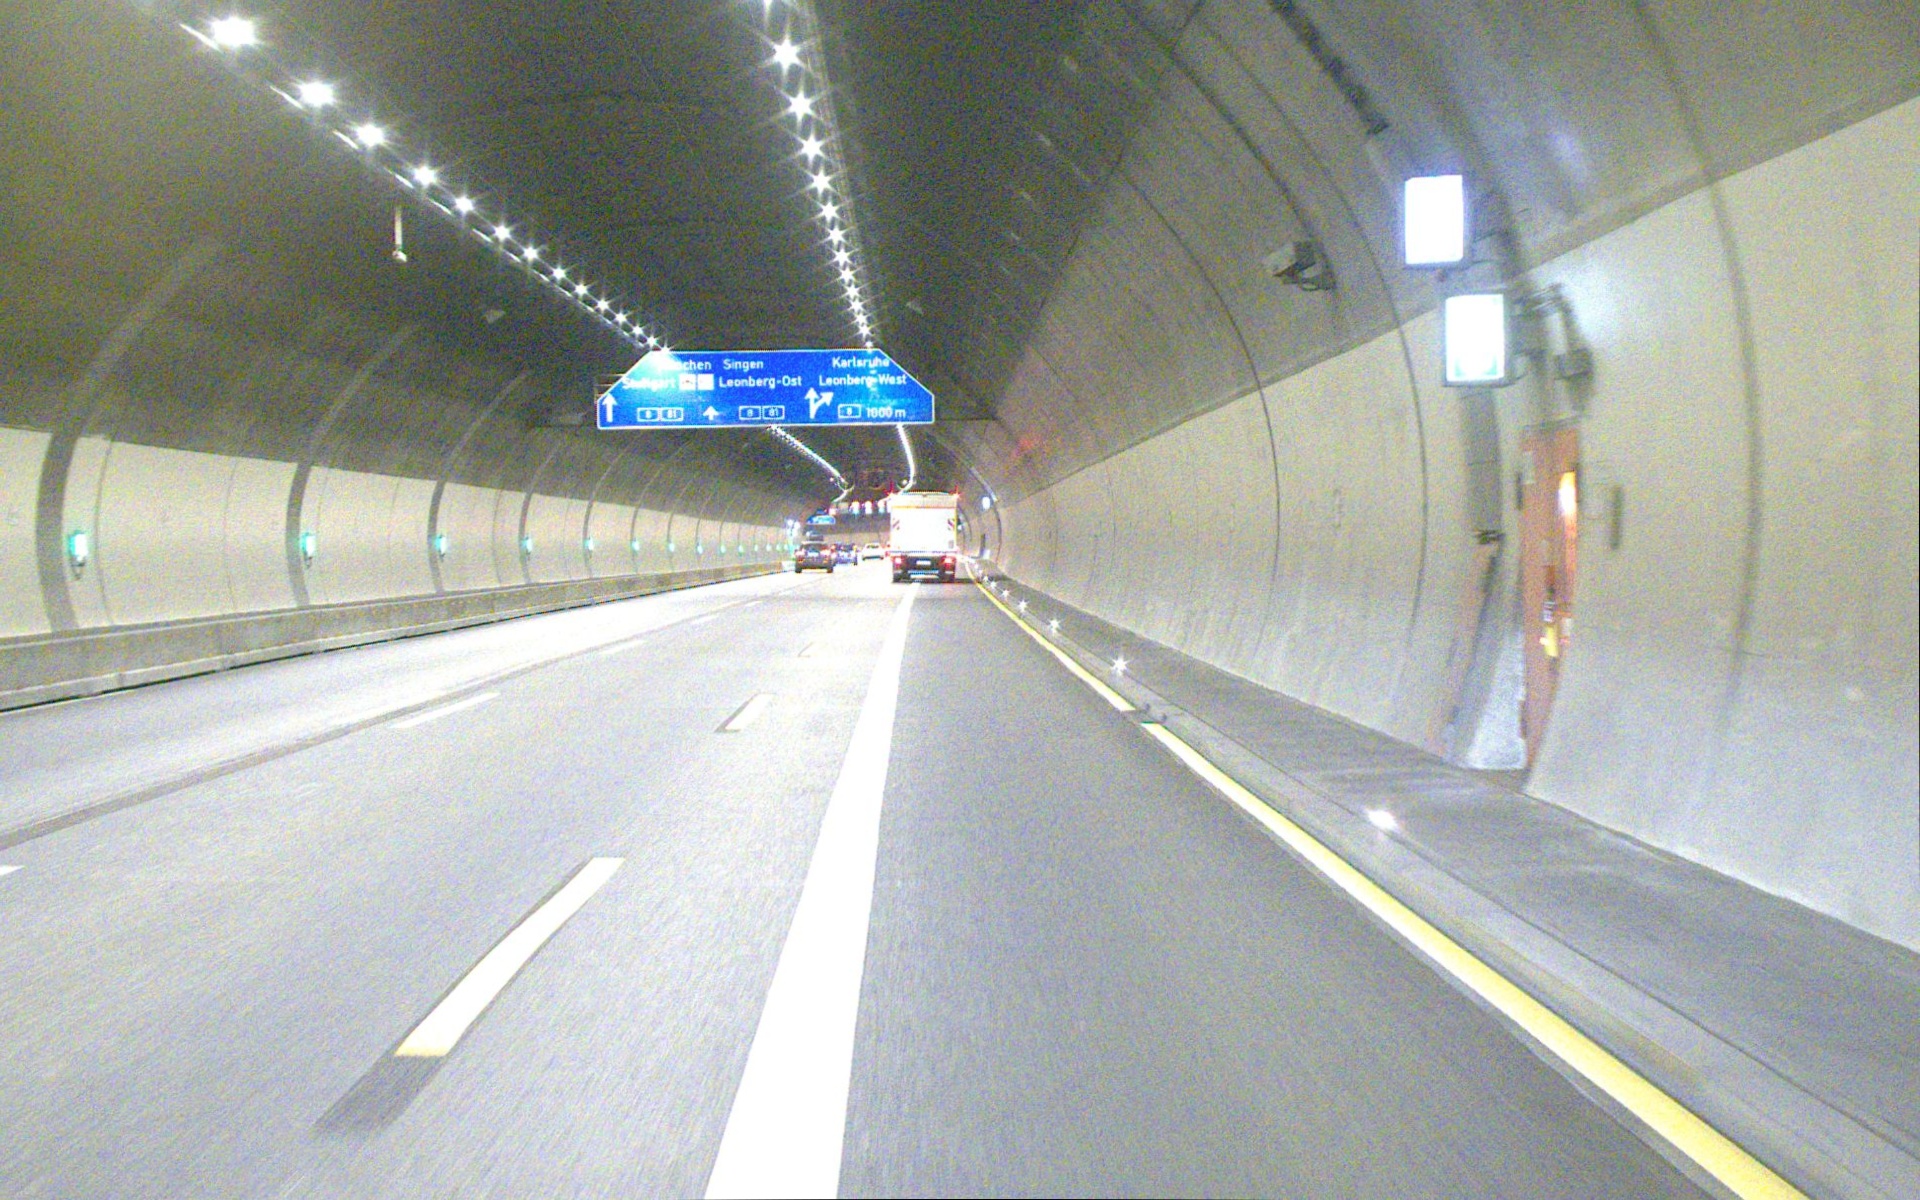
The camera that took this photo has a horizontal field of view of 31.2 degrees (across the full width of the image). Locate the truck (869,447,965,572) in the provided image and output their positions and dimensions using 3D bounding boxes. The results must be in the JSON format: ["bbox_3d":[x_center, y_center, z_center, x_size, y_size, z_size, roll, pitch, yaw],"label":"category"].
[{"bbox_3d":[-1.847,-3.628,139.049,3.278,4.634,17.289,-1,1,-2],"label":"truck"}]

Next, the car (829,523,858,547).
[{"bbox_3d":[-7.779,-4.333,228.933,1.812,1.514,4.001,0,3,-4],"label":"car"}]

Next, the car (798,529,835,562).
[{"bbox_3d":[-7.170,-2.727,171.644,1.812,1.612,4.001,0,2,-3],"label":"car"}]
